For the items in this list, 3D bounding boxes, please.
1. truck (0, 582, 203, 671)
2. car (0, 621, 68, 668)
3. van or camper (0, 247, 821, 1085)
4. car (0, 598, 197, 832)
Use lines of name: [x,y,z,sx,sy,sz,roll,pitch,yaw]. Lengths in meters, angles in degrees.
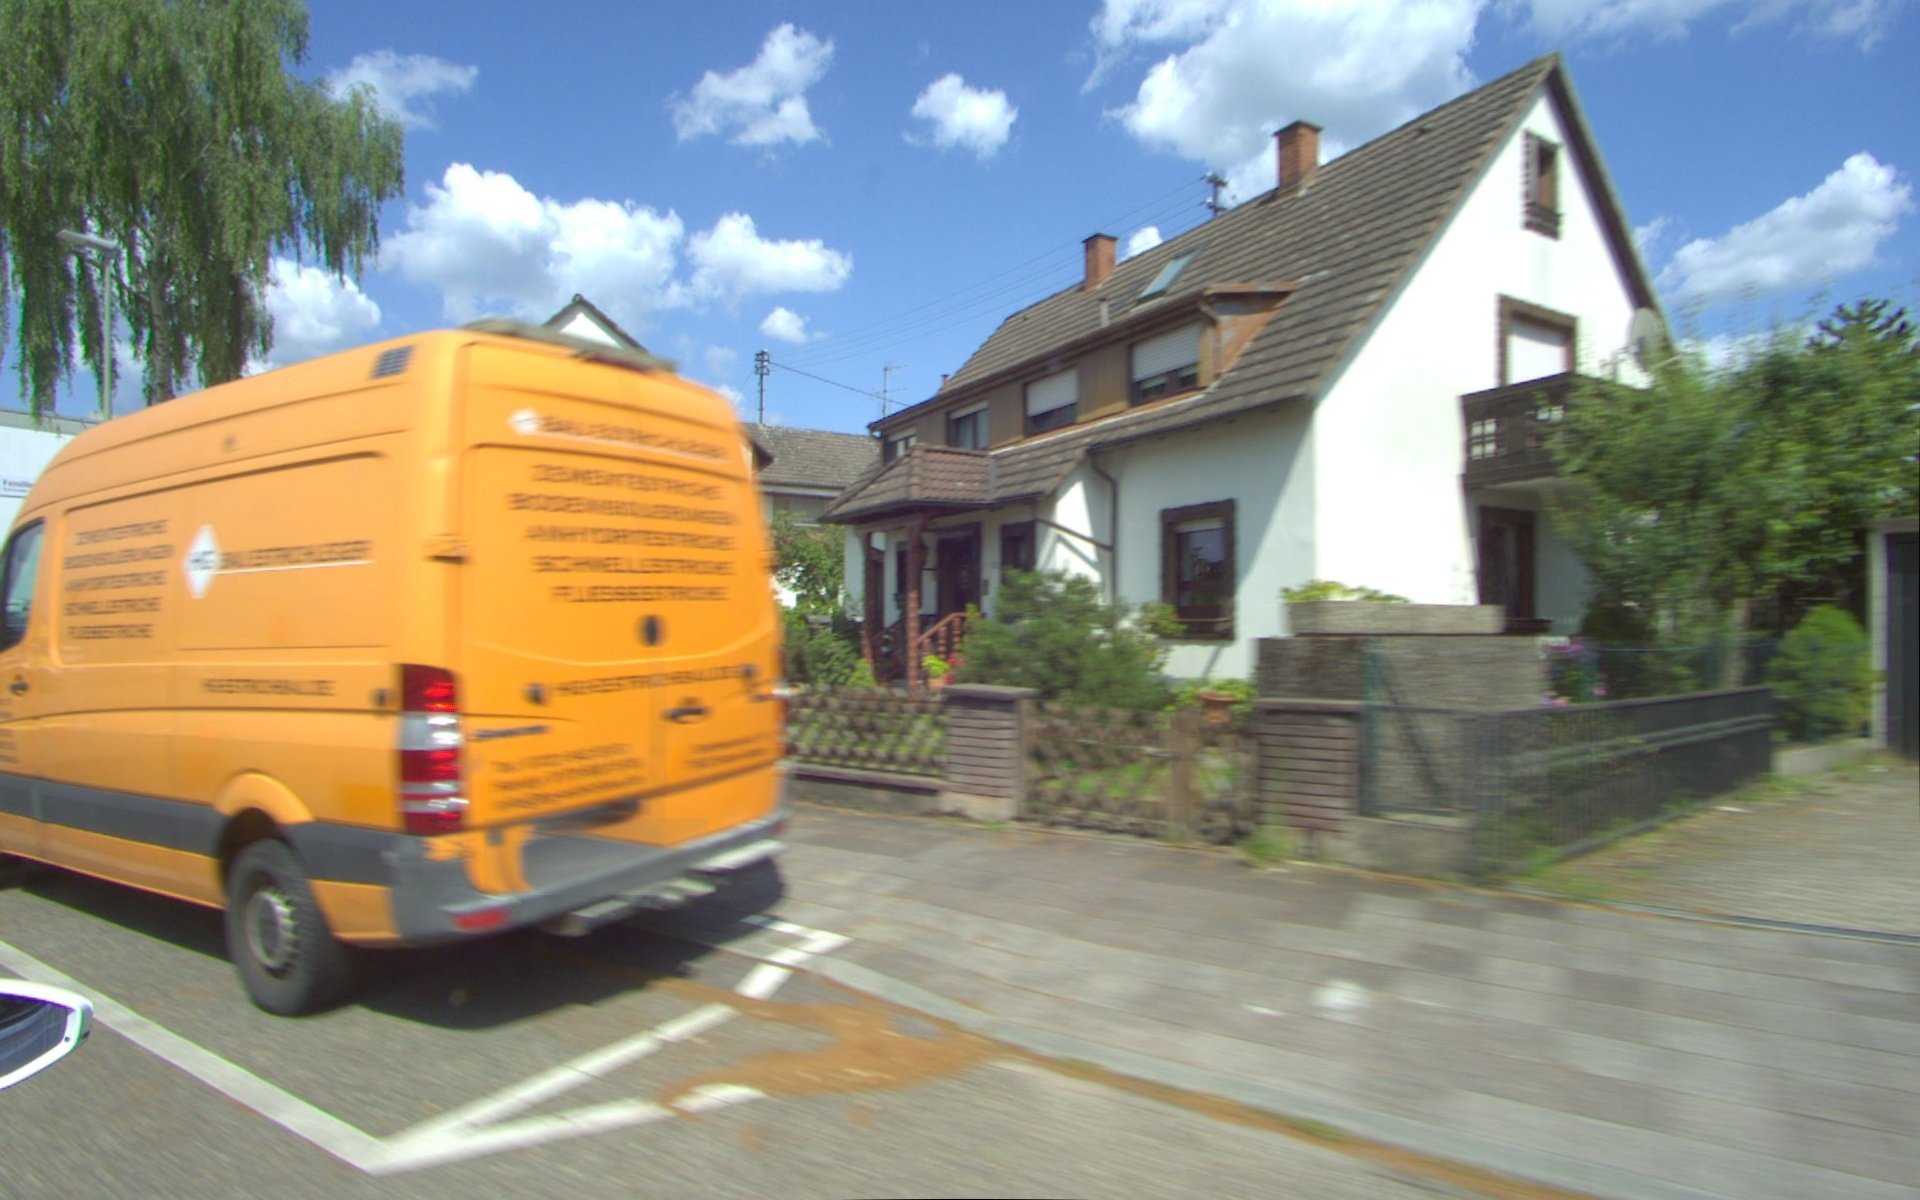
truck: [-28.430,0.887,32.587,2.517,2.610,6.061,0,-2,6]
car: [-37.486,1.737,38.737,4.360,1.774,1.851,1,-4,-40]
van or camper: [-3.628,0.266,5.556,5.684,2.698,1.991,-1,-1,31]
car: [-8.431,0.845,8.470,4.179,1.661,1.829,-1,-2,33]
